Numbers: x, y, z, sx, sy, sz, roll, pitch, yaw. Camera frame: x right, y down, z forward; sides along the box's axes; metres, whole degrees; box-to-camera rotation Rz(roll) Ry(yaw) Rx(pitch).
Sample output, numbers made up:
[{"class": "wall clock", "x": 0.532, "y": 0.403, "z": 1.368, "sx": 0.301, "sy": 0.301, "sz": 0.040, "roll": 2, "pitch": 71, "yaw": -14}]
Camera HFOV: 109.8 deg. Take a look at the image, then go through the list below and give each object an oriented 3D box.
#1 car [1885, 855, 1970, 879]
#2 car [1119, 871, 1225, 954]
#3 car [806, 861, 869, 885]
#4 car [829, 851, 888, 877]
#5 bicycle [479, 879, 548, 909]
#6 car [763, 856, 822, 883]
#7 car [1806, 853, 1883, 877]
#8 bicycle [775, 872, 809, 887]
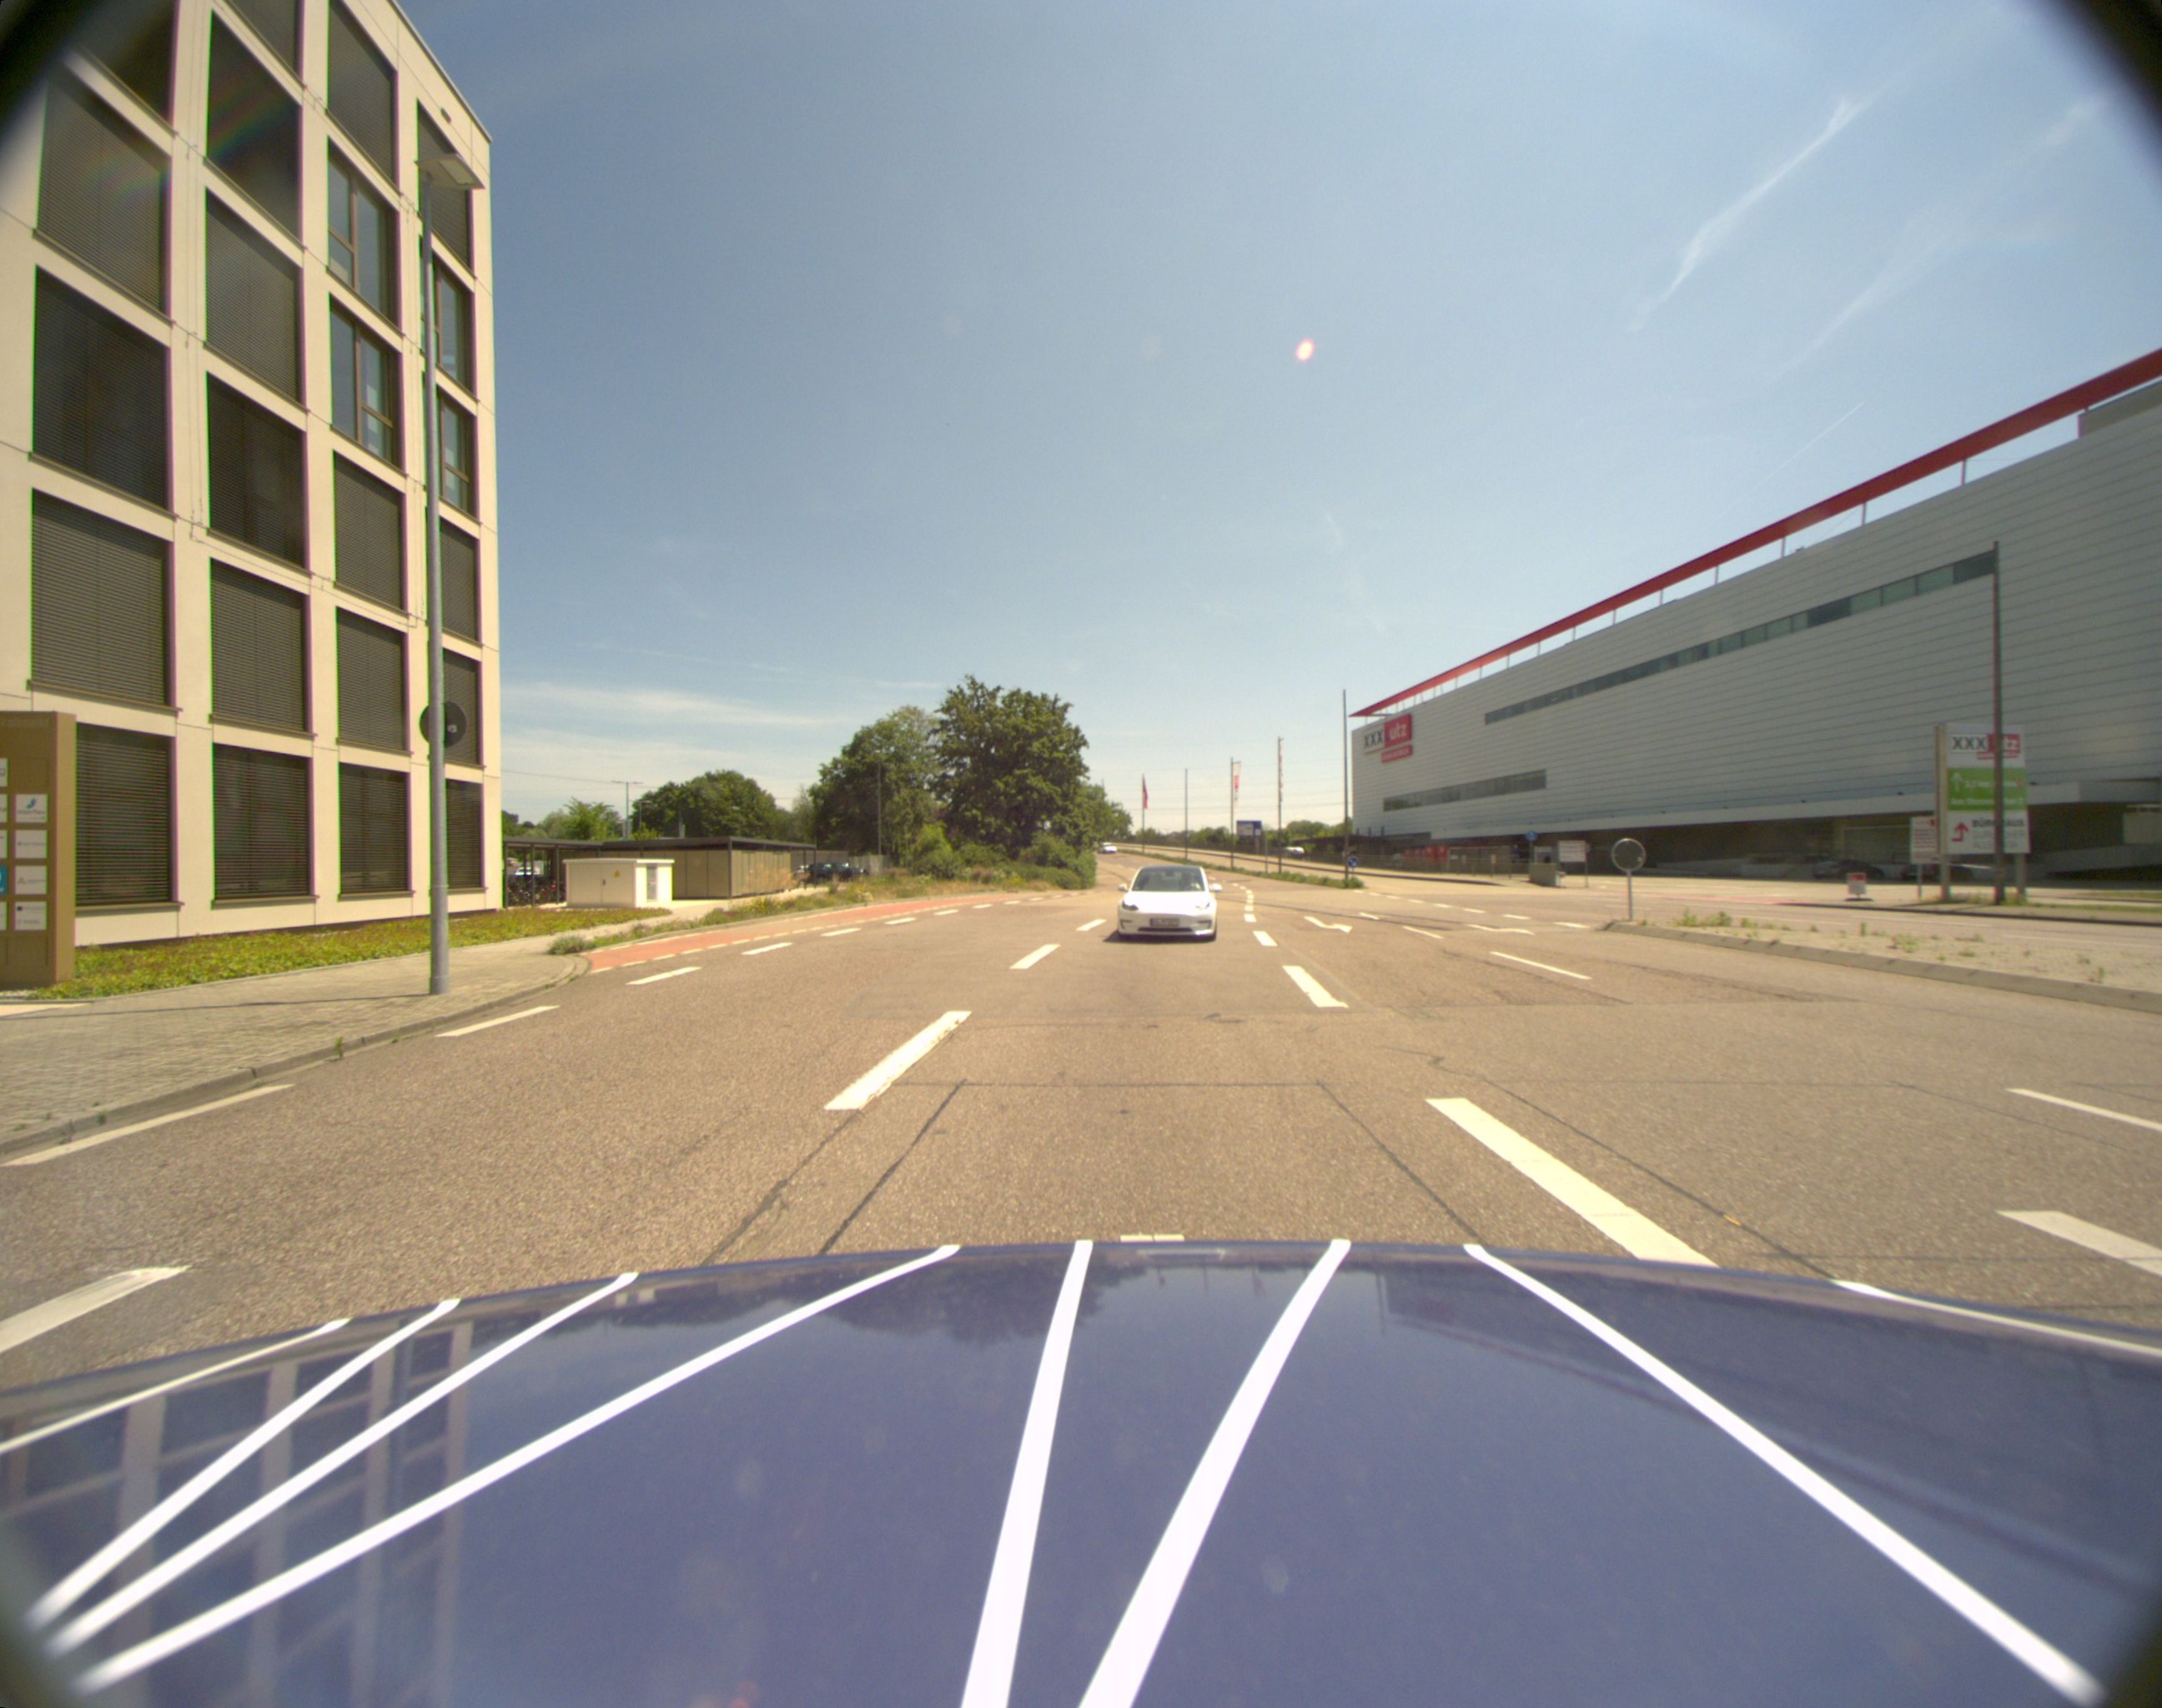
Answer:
[{"class": "car", "x": 54.229, "y": 0.827, "z": 48.711, "sx": 3.484, "sy": 1.486, "sz": 1.958, "roll": -1, "pitch": 0, "yaw": -5}, {"class": "car", "x": 1.736, "y": 1.091, "z": 15.726, "sx": 1.879, "sy": 1.416, "sz": 4.408, "roll": 0, "pitch": -1, "yaw": 3}, {"class": "car", "x": -17.682, "y": 1.336, "z": 55.214, "sx": 4.006, "sy": 1.652, "sz": 1.834, "roll": -1, "pitch": 0, "yaw": -30}, {"class": "car", "x": -17.351, "y": 0.799, "z": 59.301, "sx": 4.007, "sy": 1.941, "sz": 1.995, "roll": -1, "pitch": 0, "yaw": -31}, {"class": "bicycle", "x": -20.607, "y": 1.446, "z": 27.620, "sx": 1.840, "sy": 0.996, "sz": 0.734, "roll": -1, "pitch": 0, "yaw": -13}, {"class": "car", "x": -22.660, "y": 1.208, "z": 59.776, "sx": 4.007, "sy": 2.002, "sz": 1.995, "roll": -1, "pitch": 0, "yaw": -31}, {"class": "car", "x": 53.577, "y": 0.767, "z": 53.331, "sx": 3.749, "sy": 1.610, "sz": 1.911, "roll": -1, "pitch": 0, "yaw": -6}, {"class": "bicycle", "x": -18.312, "y": 1.621, "z": 48.162, "sx": 1.884, "sy": 0.858, "sz": 0.589, "roll": -1, "pitch": 0, "yaw": -8}]
